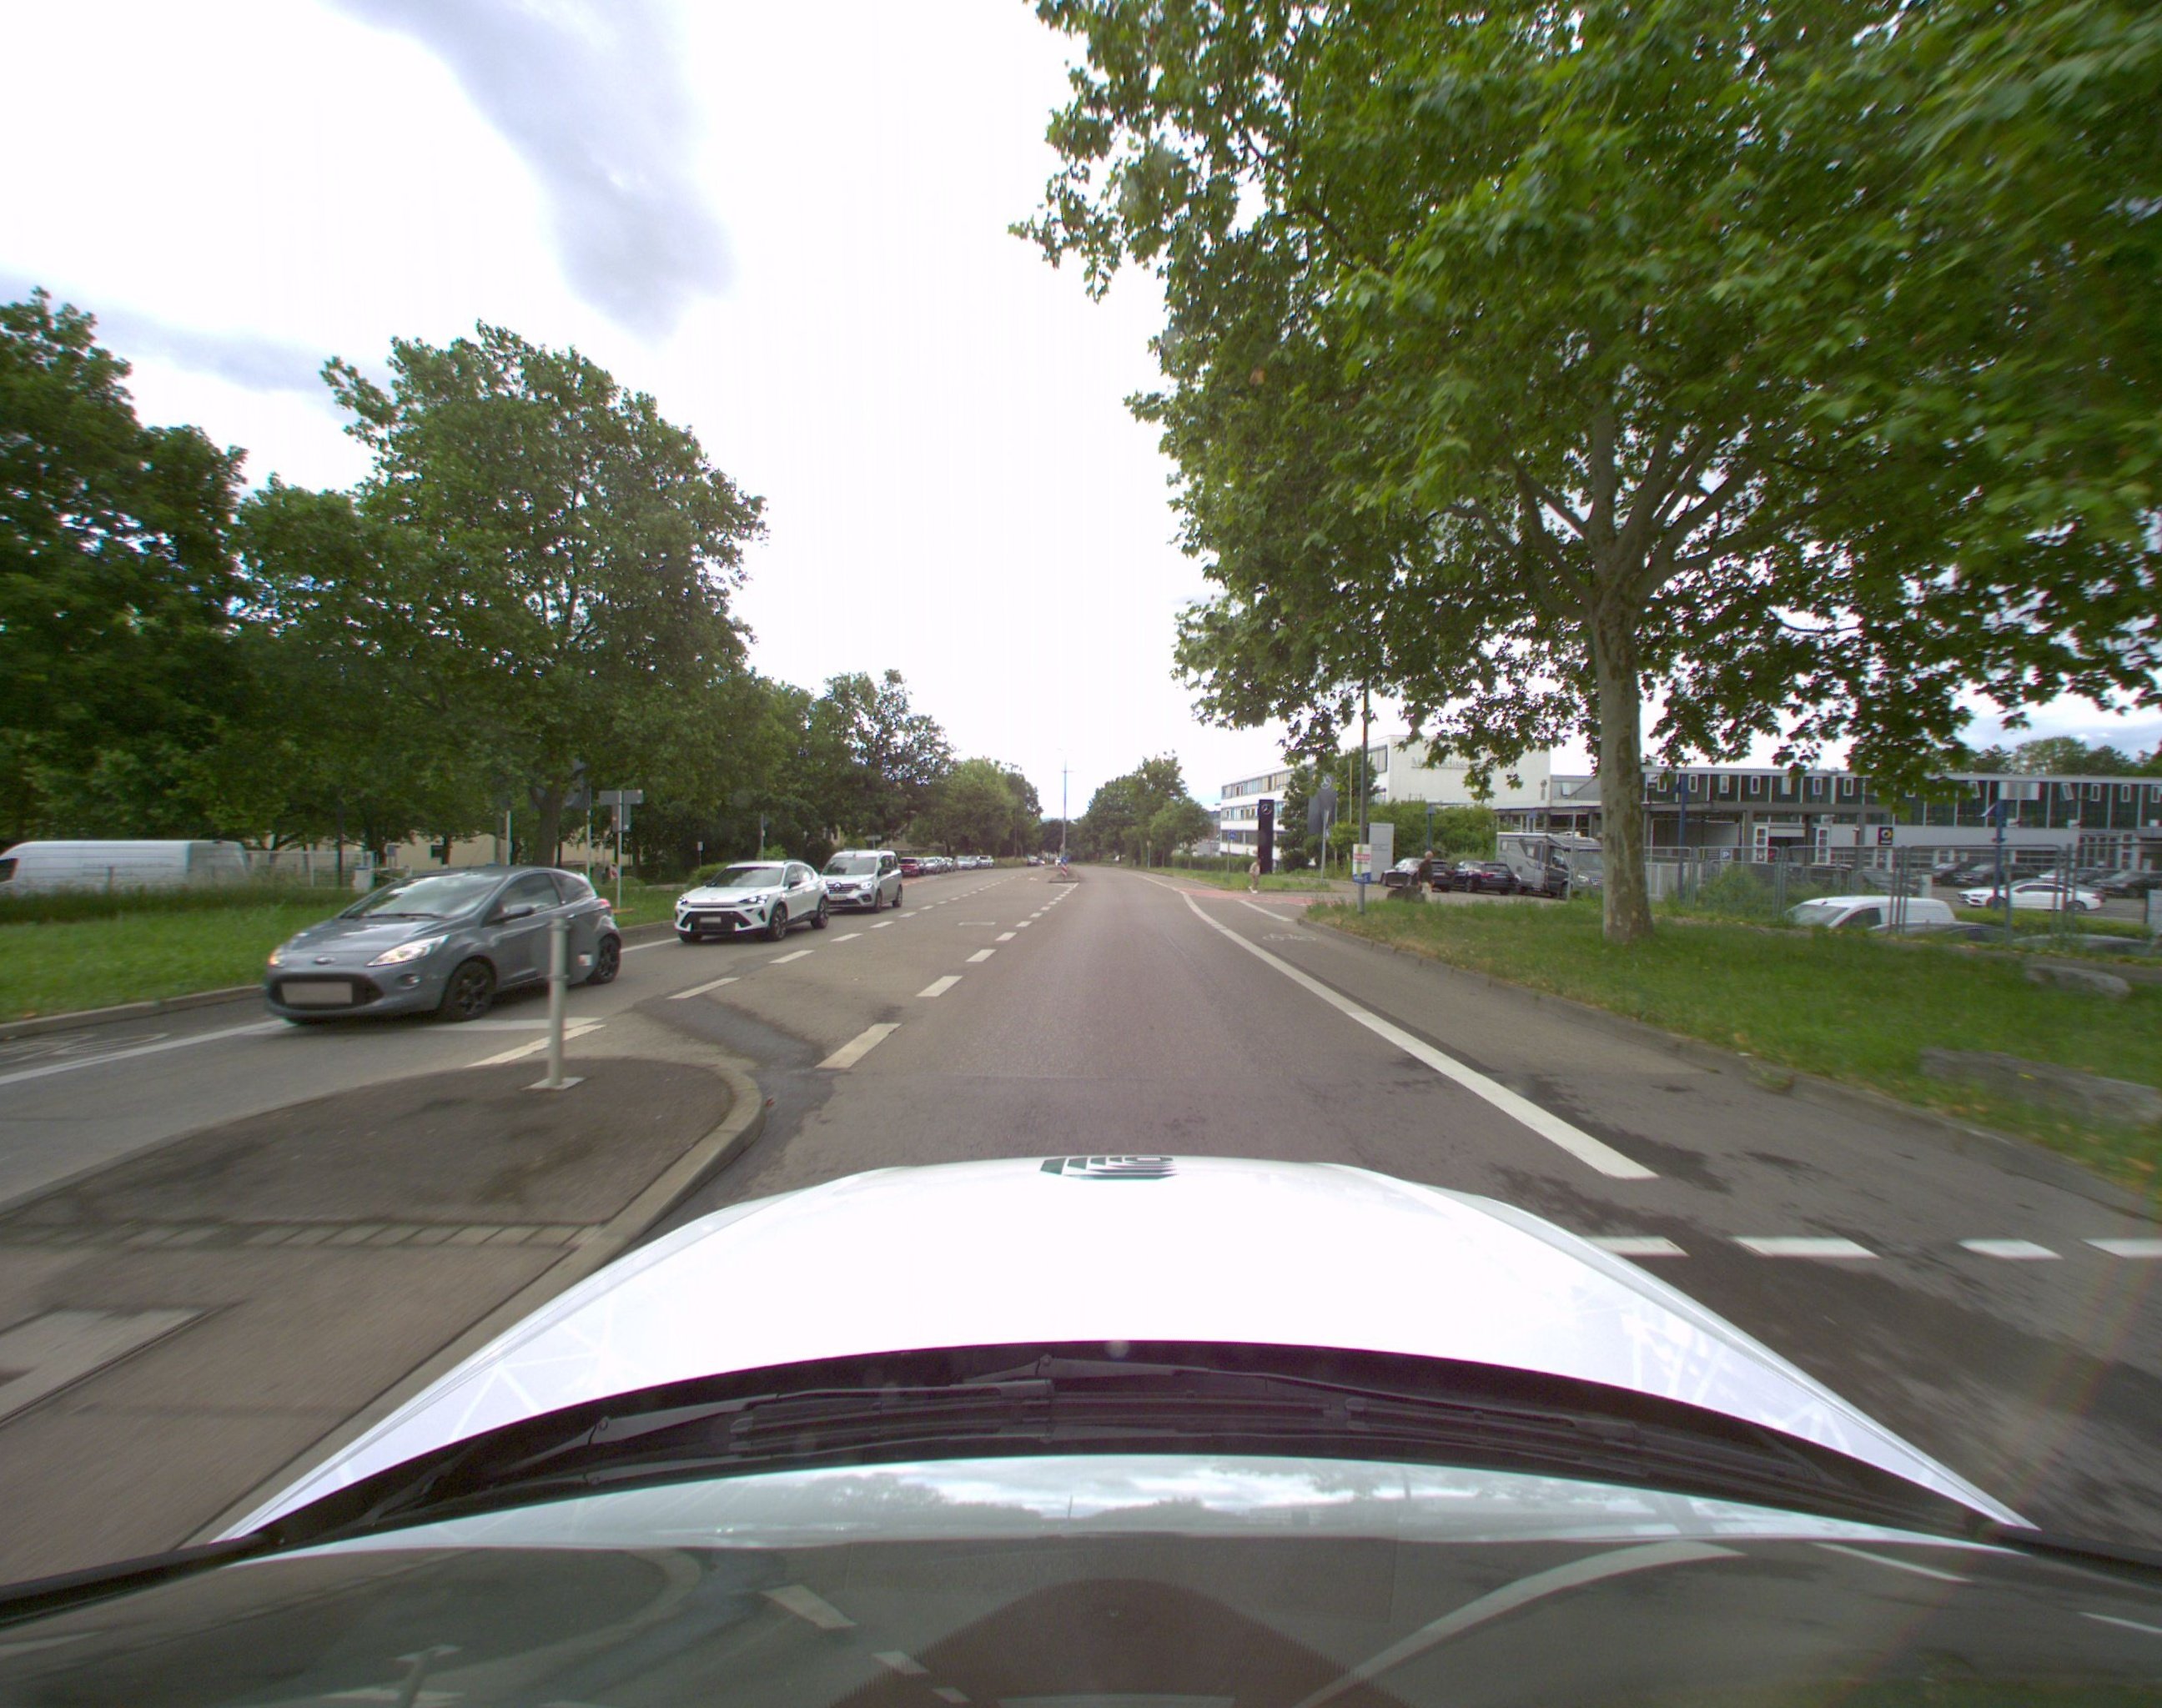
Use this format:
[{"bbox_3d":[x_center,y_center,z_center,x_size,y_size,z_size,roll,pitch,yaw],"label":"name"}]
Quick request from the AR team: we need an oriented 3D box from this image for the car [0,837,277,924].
[{"bbox_3d":[-28.599,0.767,24.474,6.029,2.475,2.655,0,0,-3],"label":"car"}]

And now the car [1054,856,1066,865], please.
[{"bbox_3d":[-2.912,0.923,114.328,1.606,1.304,4.000,1,0,0],"label":"car"}]

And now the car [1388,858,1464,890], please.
[{"bbox_3d":[15.374,0.856,36.549,1.704,1.354,4.345,0,0,1],"label":"car"}]

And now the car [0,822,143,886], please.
[{"bbox_3d":[-44.096,-0.002,35.005,4.957,2.663,1.997,0,0,-4],"label":"car"}]

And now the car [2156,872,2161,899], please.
[{"bbox_3d":[64.233,1.849,46.393,3.622,1.528,1.625,1,0,5],"label":"car"}]

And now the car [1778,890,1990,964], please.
[{"bbox_3d":[19.555,1.753,19.931,3.726,1.618,1.689,1,0,-4],"label":"car"}]

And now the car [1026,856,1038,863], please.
[{"bbox_3d":[-8.562,0.967,142.190,1.766,1.304,4.000,1,0,0],"label":"car"}]

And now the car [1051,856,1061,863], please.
[{"bbox_3d":[-4.881,1.054,159.419,1.606,1.304,4.000,1,0,0],"label":"car"}]

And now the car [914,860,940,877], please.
[{"bbox_3d":[-13.779,1.288,73.114,1.668,1.403,3.996,1,0,-2],"label":"car"}]

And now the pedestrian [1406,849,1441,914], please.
[{"bbox_3d":[9.769,0.769,23.230,0.739,1.801,0.867,0,0,35],"label":"pedestrian"}]

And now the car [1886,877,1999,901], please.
[{"bbox_3d":[38.428,1.561,36.372,3.628,0.978,1.412,1,0,0],"label":"car"}]

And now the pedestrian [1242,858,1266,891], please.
[{"bbox_3d":[7.767,0.909,36.564,0.791,1.463,0.744,0,0,-18],"label":"pedestrian"}]

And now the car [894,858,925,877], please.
[{"bbox_3d":[-13.429,1.068,63.929,1.669,1.403,3.996,1,0,-3],"label":"car"}]

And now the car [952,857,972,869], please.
[{"bbox_3d":[-13.707,1.032,93.593,1.677,1.304,3.975,1,0,-18],"label":"car"}]

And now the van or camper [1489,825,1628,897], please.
[{"bbox_3d":[20.733,0.283,35.858,1.960,2.868,6.915,0,0,-1],"label":"van or camper"}]

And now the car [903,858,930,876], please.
[{"bbox_3d":[-13.842,1.084,68.726,1.669,1.403,3.996,1,0,-3],"label":"car"}]

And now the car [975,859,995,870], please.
[{"bbox_3d":[-12.255,1.318,104.037,1.664,1.304,4.007,1,0,7],"label":"car"}]

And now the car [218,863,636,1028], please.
[{"bbox_3d":[-6.621,0.806,8.834,1.542,1.331,3.653,-2,0,0],"label":"car"}]

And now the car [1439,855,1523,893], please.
[{"bbox_3d":[17.929,0.852,36.700,1.704,1.508,4.345,2,0,1],"label":"car"}]

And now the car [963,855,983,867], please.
[{"bbox_3d":[-13.066,0.832,98.823,1.666,1.304,4.002,1,0,2],"label":"car"}]

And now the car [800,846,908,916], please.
[{"bbox_3d":[-6.499,0.710,23.833,1.840,1.803,4.649,-1,0,-1],"label":"car"}]

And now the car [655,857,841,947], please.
[{"bbox_3d":[-6.583,0.846,16.774,1.840,1.520,4.814,-2,0,-1],"label":"car"}]
